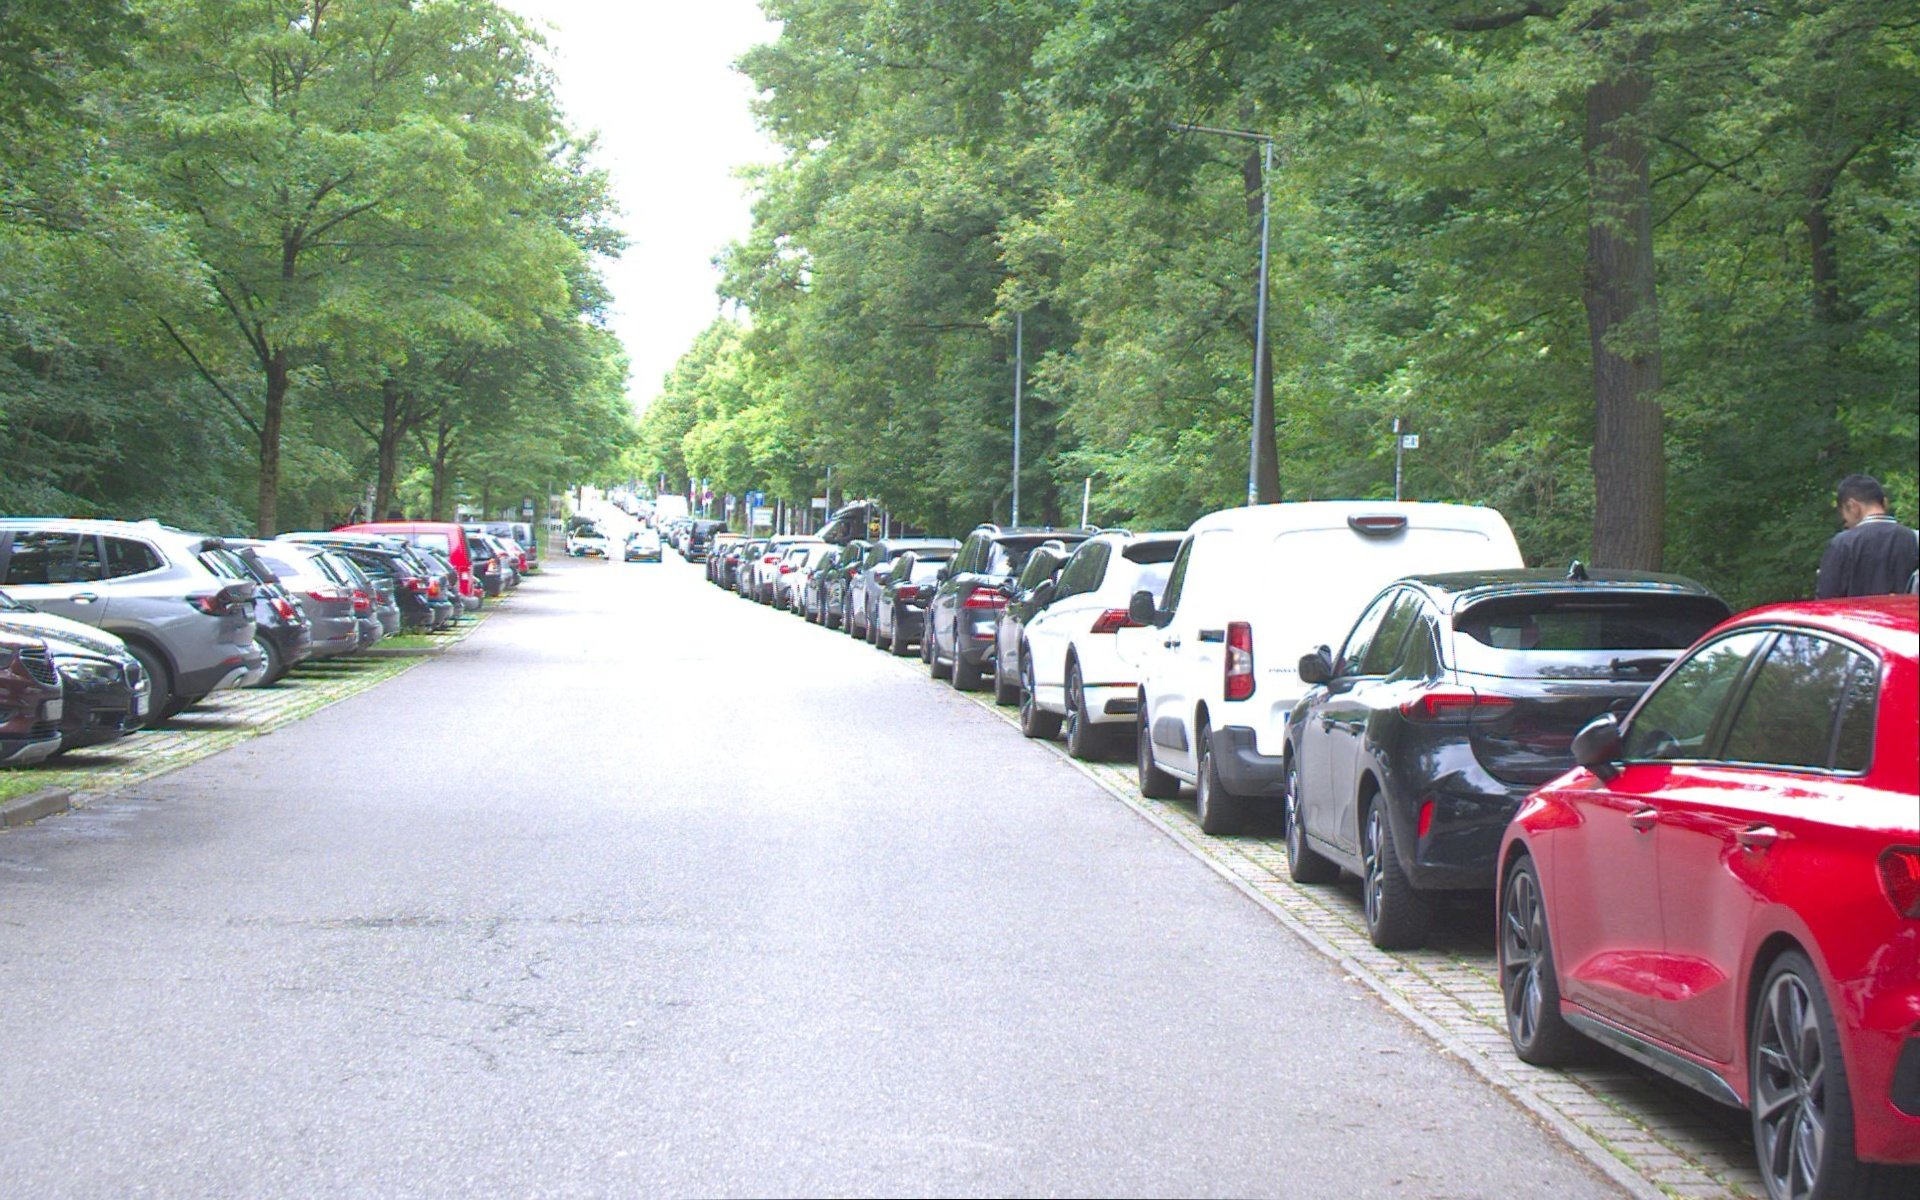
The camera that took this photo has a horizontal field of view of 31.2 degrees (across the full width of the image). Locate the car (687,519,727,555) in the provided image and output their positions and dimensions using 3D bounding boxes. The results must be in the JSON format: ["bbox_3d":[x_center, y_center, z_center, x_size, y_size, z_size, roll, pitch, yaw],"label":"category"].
[{"bbox_3d":[-11.588,-2.887,157.388,1.628,1.410,3.412,2,4,-6],"label":"car"}]

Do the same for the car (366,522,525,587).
[{"bbox_3d":[-13.444,-1.189,90.013,3.986,1.634,2.009,1,1,-4],"label":"car"}]

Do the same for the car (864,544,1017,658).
[{"bbox_3d":[-0.321,-0.016,48.224,1.636,1.472,4.152,1,1,-7],"label":"car"}]

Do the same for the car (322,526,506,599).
[{"bbox_3d":[-11.939,-0.832,75.335,3.832,1.531,1.871,1,1,-4],"label":"car"}]

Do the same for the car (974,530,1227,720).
[{"bbox_3d":[1.228,0.173,31.942,1.750,1.602,4.447,1,1,-5],"label":"car"}]

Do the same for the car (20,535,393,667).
[{"bbox_3d":[-8.861,-0.005,40.722,4.108,1.475,1.997,1,1,-6],"label":"car"}]

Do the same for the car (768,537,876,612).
[{"bbox_3d":[-2.912,-0.548,71.796,1.936,1.470,3.993,1,1,-7],"label":"car"}]

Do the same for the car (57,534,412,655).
[{"bbox_3d":[-9.058,-0.085,43.197,4.109,1.426,1.964,1,1,-3],"label":"car"}]

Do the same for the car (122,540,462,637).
[{"bbox_3d":[-9.753,-0.177,50.493,4.731,1.338,1.988,1,1,-6],"label":"car"}]

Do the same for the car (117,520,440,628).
[{"bbox_3d":[-10.476,-0.412,53.142,4.731,1.590,1.960,1,1,-6],"label":"car"}]

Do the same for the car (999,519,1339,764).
[{"bbox_3d":[1.475,0.234,26.086,1.785,1.657,4.719,1,1,-6],"label":"car"}]

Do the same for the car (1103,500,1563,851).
[{"bbox_3d":[2.011,0.336,19.896,1.744,1.774,4.553,1,1,-5],"label":"car"}]

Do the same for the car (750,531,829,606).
[{"bbox_3d":[-4.141,-0.790,83.018,1.710,1.722,4.001,1,1,-5],"label":"car"}]

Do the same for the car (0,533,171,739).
[{"bbox_3d":[-8.123,0.221,25.750,4.023,1.460,1.799,1,1,-2],"label":"car"}]

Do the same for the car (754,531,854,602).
[{"bbox_3d":[-3.548,-0.771,77.437,1.721,1.489,3.775,1,1,-11],"label":"car"}]

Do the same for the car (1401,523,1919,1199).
[{"bbox_3d":[2.590,0.560,8.950,1.993,1.474,4.972,1,1,-3],"label":"car"}]

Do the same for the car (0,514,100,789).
[{"bbox_3d":[-7.617,0.249,20.573,4.514,1.579,1.927,1,1,-4],"label":"car"}]

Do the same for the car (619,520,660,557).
[{"bbox_3d":[-14.243,-2.759,152.747,1.690,1.410,3.155,2,4,-6],"label":"car"}]

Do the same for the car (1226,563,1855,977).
[{"bbox_3d":[2.268,0.593,14.581,1.725,1.418,4.284,1,1,-3],"label":"car"}]

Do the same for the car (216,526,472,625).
[{"bbox_3d":[-9.948,-0.401,55.655,3.986,1.525,2.001,1,1,-9],"label":"car"}]

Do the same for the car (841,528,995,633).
[{"bbox_3d":[-0.710,-0.335,54.061,1.978,1.532,4.622,1,1,-6],"label":"car"}]

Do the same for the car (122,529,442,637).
[{"bbox_3d":[-9.462,-0.248,48.156,4.294,1.444,1.757,1,1,-10],"label":"car"}]

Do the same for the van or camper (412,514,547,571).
[{"bbox_3d":[-17.276,-2.073,123.568,4.473,1.861,1.920,1,4,-20],"label":"van or camper"}]

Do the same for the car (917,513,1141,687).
[{"bbox_3d":[0.679,-0.055,37.643,1.889,1.741,4.949,1,1,-5],"label":"car"}]

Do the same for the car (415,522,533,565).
[{"bbox_3d":[-15.922,-1.840,112.625,3.576,1.356,1.829,0,1,-17],"label":"car"}]

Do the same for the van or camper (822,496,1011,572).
[{"bbox_3d":[-1.805,-2.736,143.298,7.321,2.879,2.651,1,4,-20],"label":"van or camper"}]

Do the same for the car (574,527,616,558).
[{"bbox_3d":[-16.356,-2.580,154.160,1.739,1.158,3.412,2,4,-4],"label":"car"}]

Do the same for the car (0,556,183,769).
[{"bbox_3d":[-7.447,0.371,23.363,3.986,1.359,1.787,1,1,-5],"label":"car"}]

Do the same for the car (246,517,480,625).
[{"bbox_3d":[-10.481,-0.519,60.620,3.986,1.810,2.115,1,1,-8],"label":"car"}]

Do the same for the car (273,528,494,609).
[{"bbox_3d":[-10.932,-0.613,65.448,3.986,1.469,2.115,1,1,-5],"label":"car"}]

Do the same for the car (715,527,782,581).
[{"bbox_3d":[-6.327,-1.385,102.567,1.921,1.515,3.888,1,1,-5],"label":"car"}]

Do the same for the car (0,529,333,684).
[{"bbox_3d":[-8.871,0.041,35.761,4.400,1.483,1.838,1,1,-3],"label":"car"}]

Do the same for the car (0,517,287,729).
[{"bbox_3d":[-7.778,0.138,28.075,4.224,1.627,2.029,1,1,-3],"label":"car"}]

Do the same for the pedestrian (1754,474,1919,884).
[{"bbox_3d":[4.033,0.328,14.991,0.817,1.720,1.004,1,1,-3],"label":"pedestrian"}]

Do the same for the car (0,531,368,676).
[{"bbox_3d":[-8.710,0.024,38.262,4.088,1.518,1.930,1,1,-8],"label":"car"}]
